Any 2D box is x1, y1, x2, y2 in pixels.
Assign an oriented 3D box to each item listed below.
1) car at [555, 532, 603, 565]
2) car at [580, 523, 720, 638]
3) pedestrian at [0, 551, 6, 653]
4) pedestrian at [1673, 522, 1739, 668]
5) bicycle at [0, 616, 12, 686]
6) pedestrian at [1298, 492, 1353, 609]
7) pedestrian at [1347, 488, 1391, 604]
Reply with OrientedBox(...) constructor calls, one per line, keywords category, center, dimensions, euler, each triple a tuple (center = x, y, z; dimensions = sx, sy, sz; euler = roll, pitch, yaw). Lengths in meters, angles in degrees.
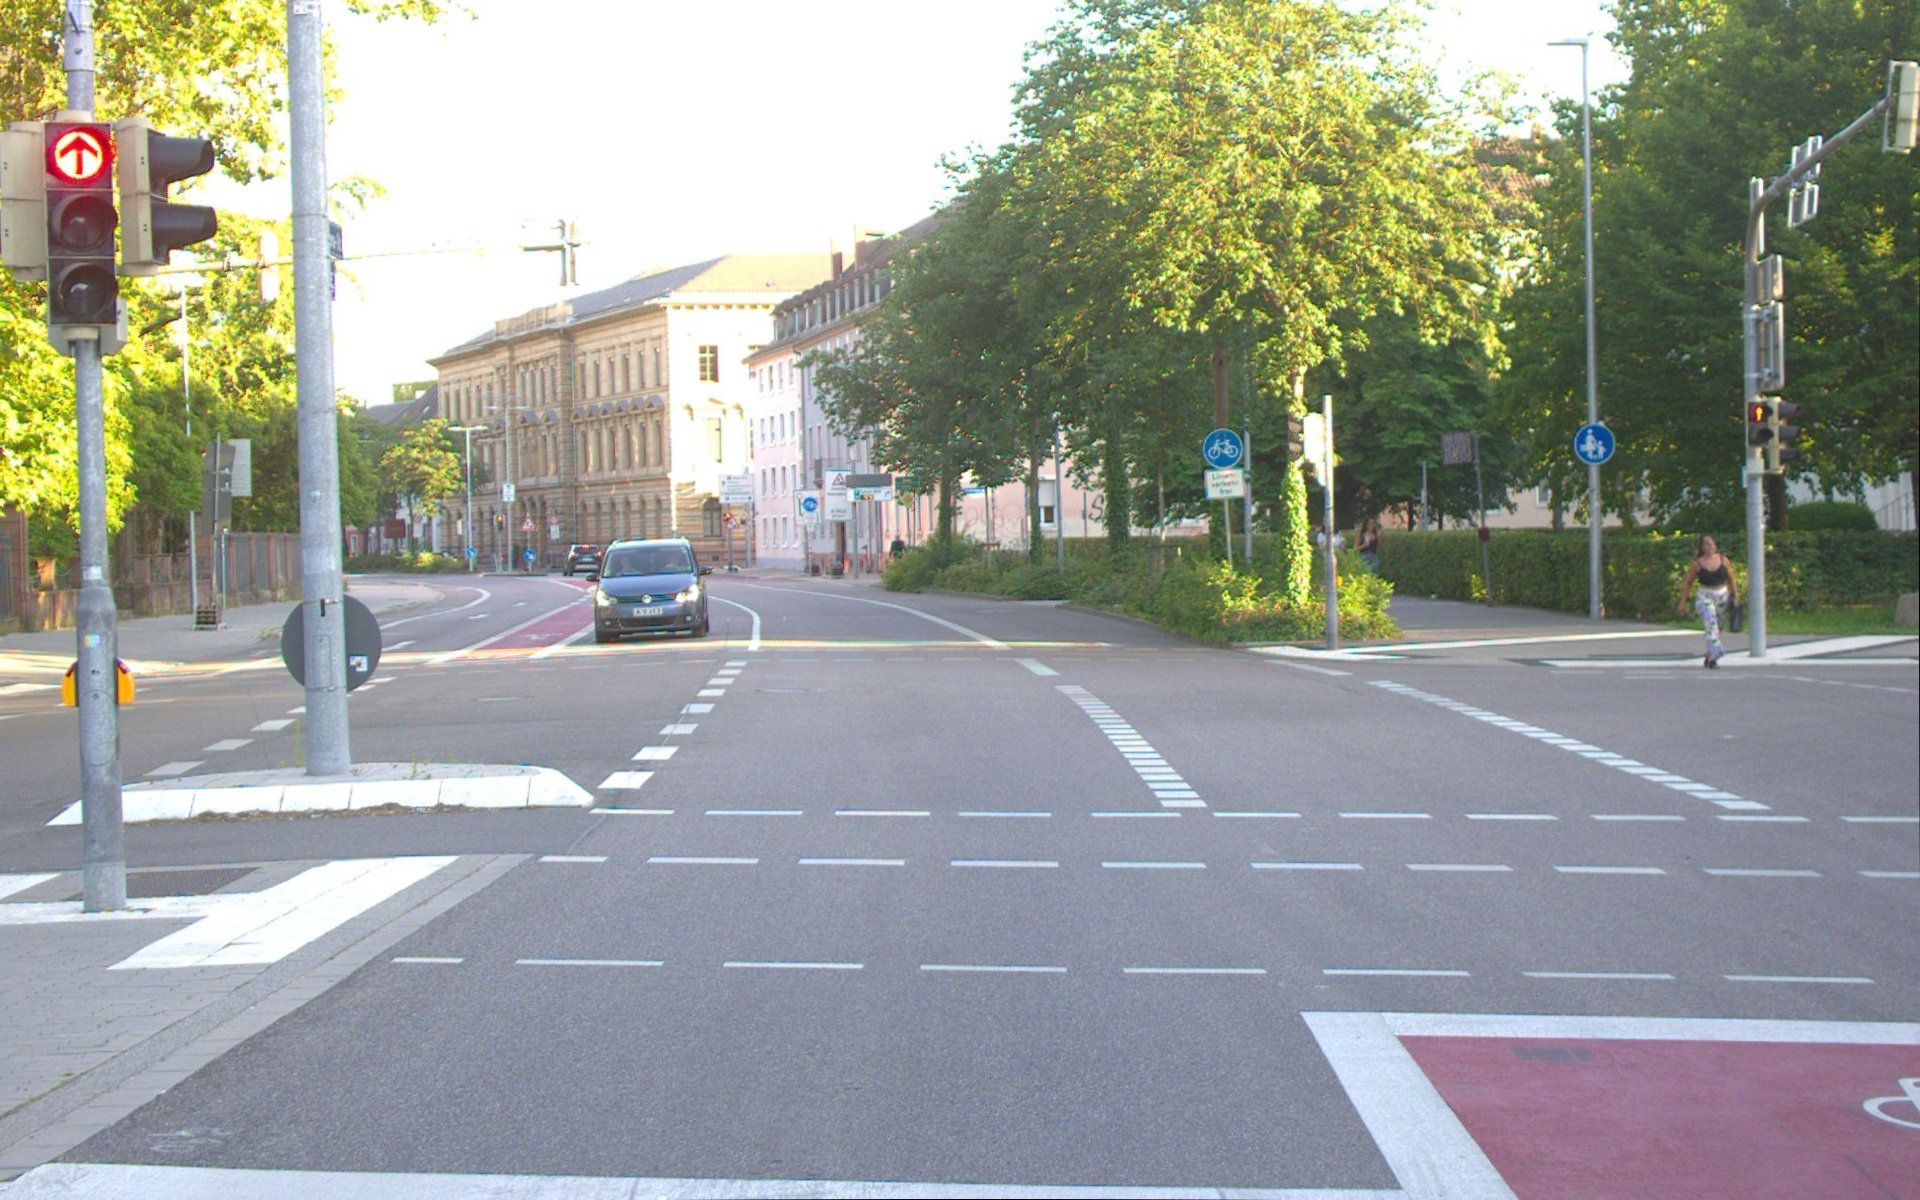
OrientedBox(category="car", center=(-19.243, -2.586, 173.605), dimensions=(1.819, 1.583, 4.001), euler=(-2, 1, -14))
OrientedBox(category="car", center=(-5.056, -0.351, 56.485), dimensions=(1.849, 1.714, 4.296), euler=(-3, 1, 0))
OrientedBox(category="pedestrian", center=(-15.145, 0.040, 53.106), dimensions=(0.599, 1.568, 0.646), euler=(-1, 1, 0))
OrientedBox(category="pedestrian", center=(8.428, -0.062, 38.857), dimensions=(0.599, 1.630, 0.691), euler=(0, 2, 0))
OrientedBox(category="bicycle", center=(-13.978, 0.707, 45.840), dimensions=(2.430, 0.921, 0.775), euler=(-1, 1, 1))
OrientedBox(category="pedestrian", center=(6.331, -0.863, 59.532), dimensions=(0.870, 2.007, 0.722), euler=(0, 1, 0))
OrientedBox(category="pedestrian", center=(7.160, -0.948, 60.239), dimensions=(0.635, 2.007, 0.720), euler=(0, 1, -4))
